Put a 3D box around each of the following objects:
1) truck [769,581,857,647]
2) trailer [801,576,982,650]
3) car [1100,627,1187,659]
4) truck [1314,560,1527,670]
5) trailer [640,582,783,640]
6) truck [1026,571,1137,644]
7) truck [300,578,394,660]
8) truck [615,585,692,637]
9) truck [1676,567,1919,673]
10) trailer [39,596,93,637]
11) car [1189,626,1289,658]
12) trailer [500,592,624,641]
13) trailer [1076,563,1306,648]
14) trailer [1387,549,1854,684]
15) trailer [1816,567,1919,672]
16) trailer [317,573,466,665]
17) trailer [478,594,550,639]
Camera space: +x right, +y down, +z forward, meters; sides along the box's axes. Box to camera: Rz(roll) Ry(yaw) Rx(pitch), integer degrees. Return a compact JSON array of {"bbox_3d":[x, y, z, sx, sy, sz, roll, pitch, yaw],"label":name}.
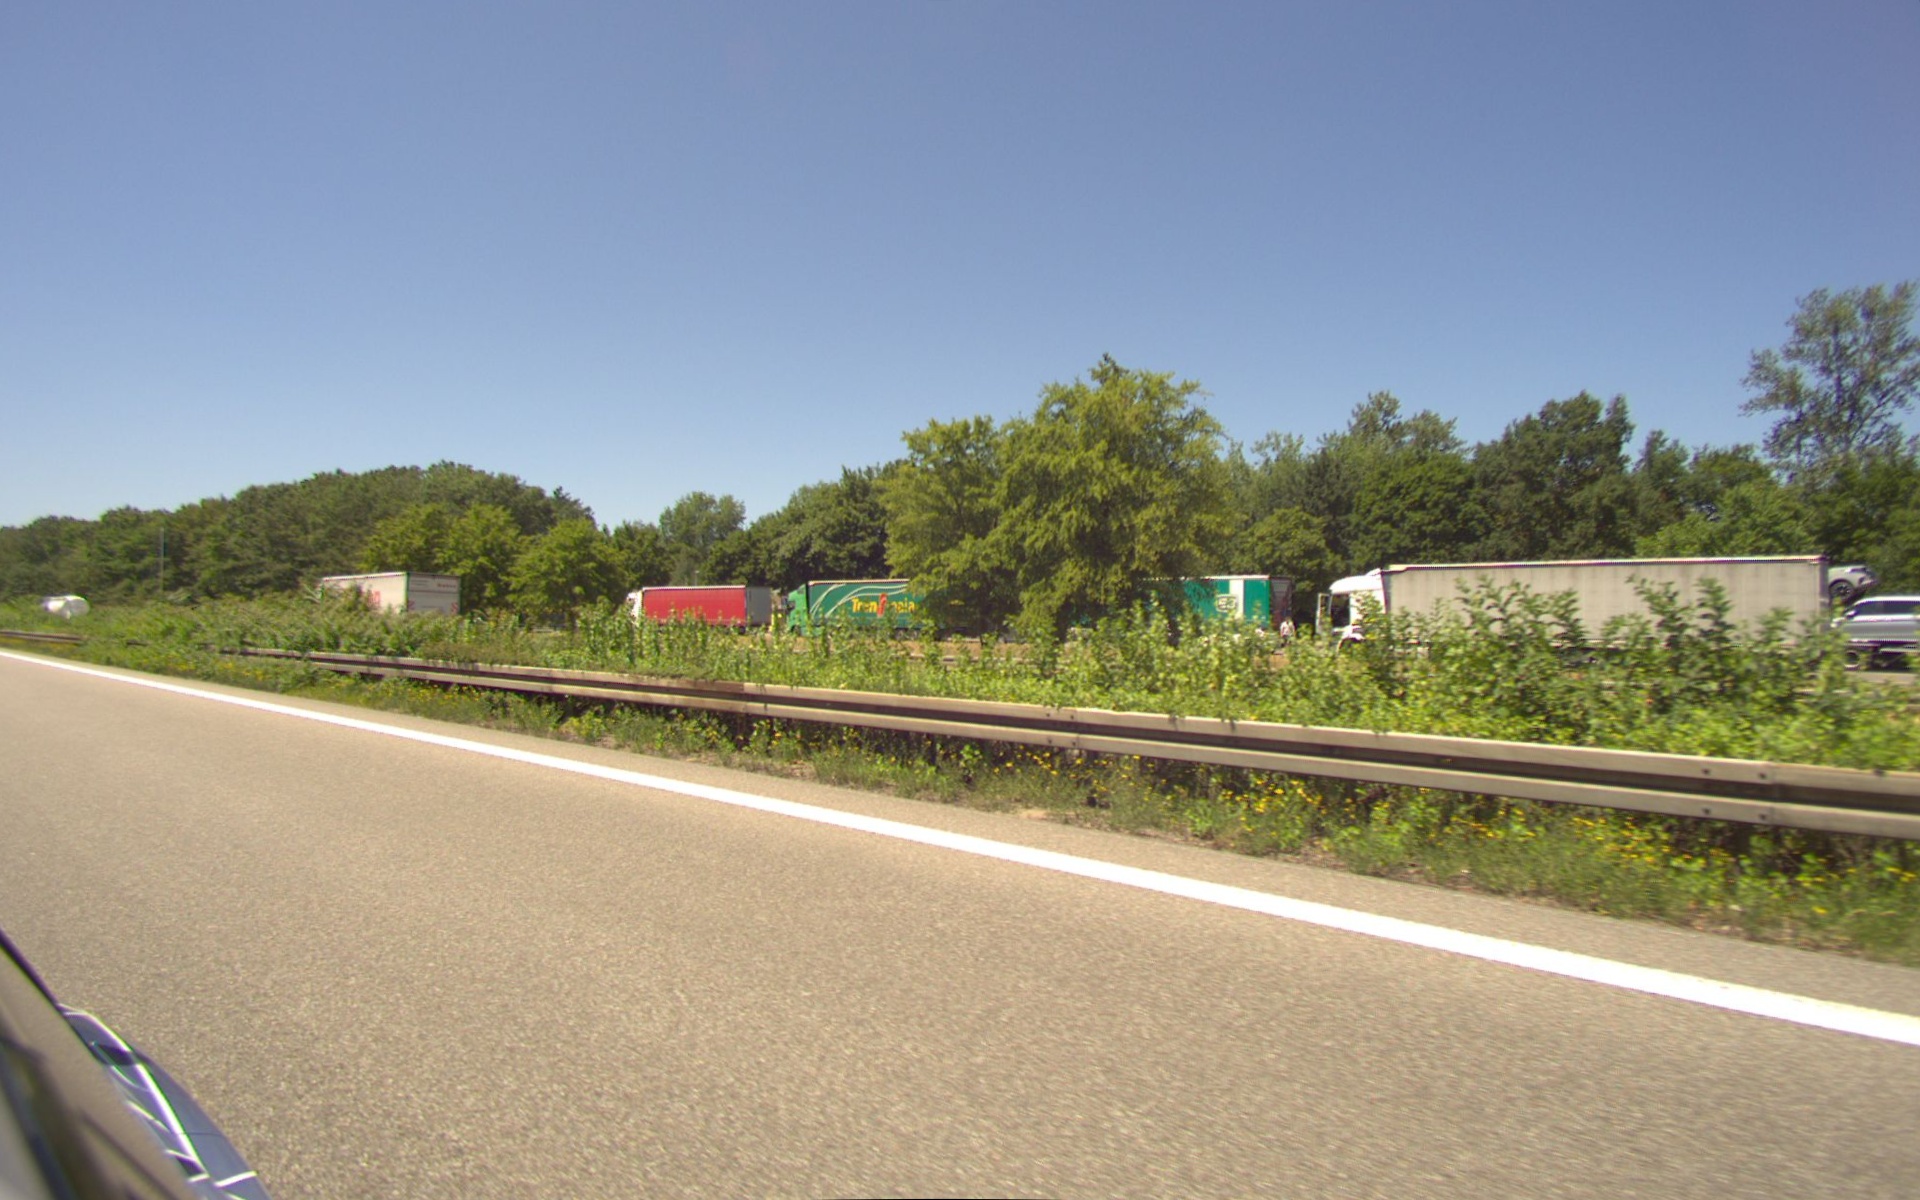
[{"bbox_3d":[-10.844,1.048,74.352,5.756,4.627,3.562,-1,-2,42],"label":"truck"},{"bbox_3d":[-4.967,0.941,69.002,14.020,4.627,3.562,-1,-2,42],"label":"trailer"},{"bbox_3d":[9.621,2.225,53.244,4.181,1.618,1.782,-1,-2,39],"label":"car"},{"bbox_3d":[18.971,0.593,42.038,3.178,4.167,7.398,-1,0,-43],"label":"truck"},{"bbox_3d":[-20.267,0.938,81.647,14.010,4.296,3.565,-1,-2,40],"label":"trailer"},{"bbox_3d":[8.003,0.563,67.145,3.558,4.627,6.603,2,-2,-43],"label":"truck"},{"bbox_3d":[-33.870,0.988,55.861,5.489,4.304,2.873,-1,0,40],"label":"truck"},{"bbox_3d":[-26.192,1.004,86.516,5.930,4.296,3.566,-1,-2,39],"label":"truck"},{"bbox_3d":[32.795,0.792,39.310,3.554,3.684,7.419,2,-2,-37],"label":"truck"},{"bbox_3d":[-97.286,1.833,110.054,10.832,4.296,2.852,-1,-2,41],"label":"trailer"},{"bbox_3d":[13.759,2.042,50.026,4.448,1.476,1.783,-1,-2,38],"label":"car"},{"bbox_3d":[-37.236,1.570,94.270,13.990,4.296,3.570,-1,-2,35],"label":"trailer"},{"bbox_3d":[13.528,0.441,61.254,3.558,4.627,14.036,2,-2,-43],"label":"trailer"},{"bbox_3d":[23.429,0.541,37.329,3.178,4.167,14.063,-1,0,-43],"label":"trailer"},{"bbox_3d":[37.481,0.650,33.066,3.554,3.684,14.053,2,-2,-37],"label":"trailer"},{"bbox_3d":[-29.457,0.936,52.089,11.481,4.304,2.873,-1,0,40],"label":"trailer"},{"bbox_3d":[-43.481,1.647,98.662,6.579,4.296,3.570,-1,-2,35],"label":"trailer"}]
